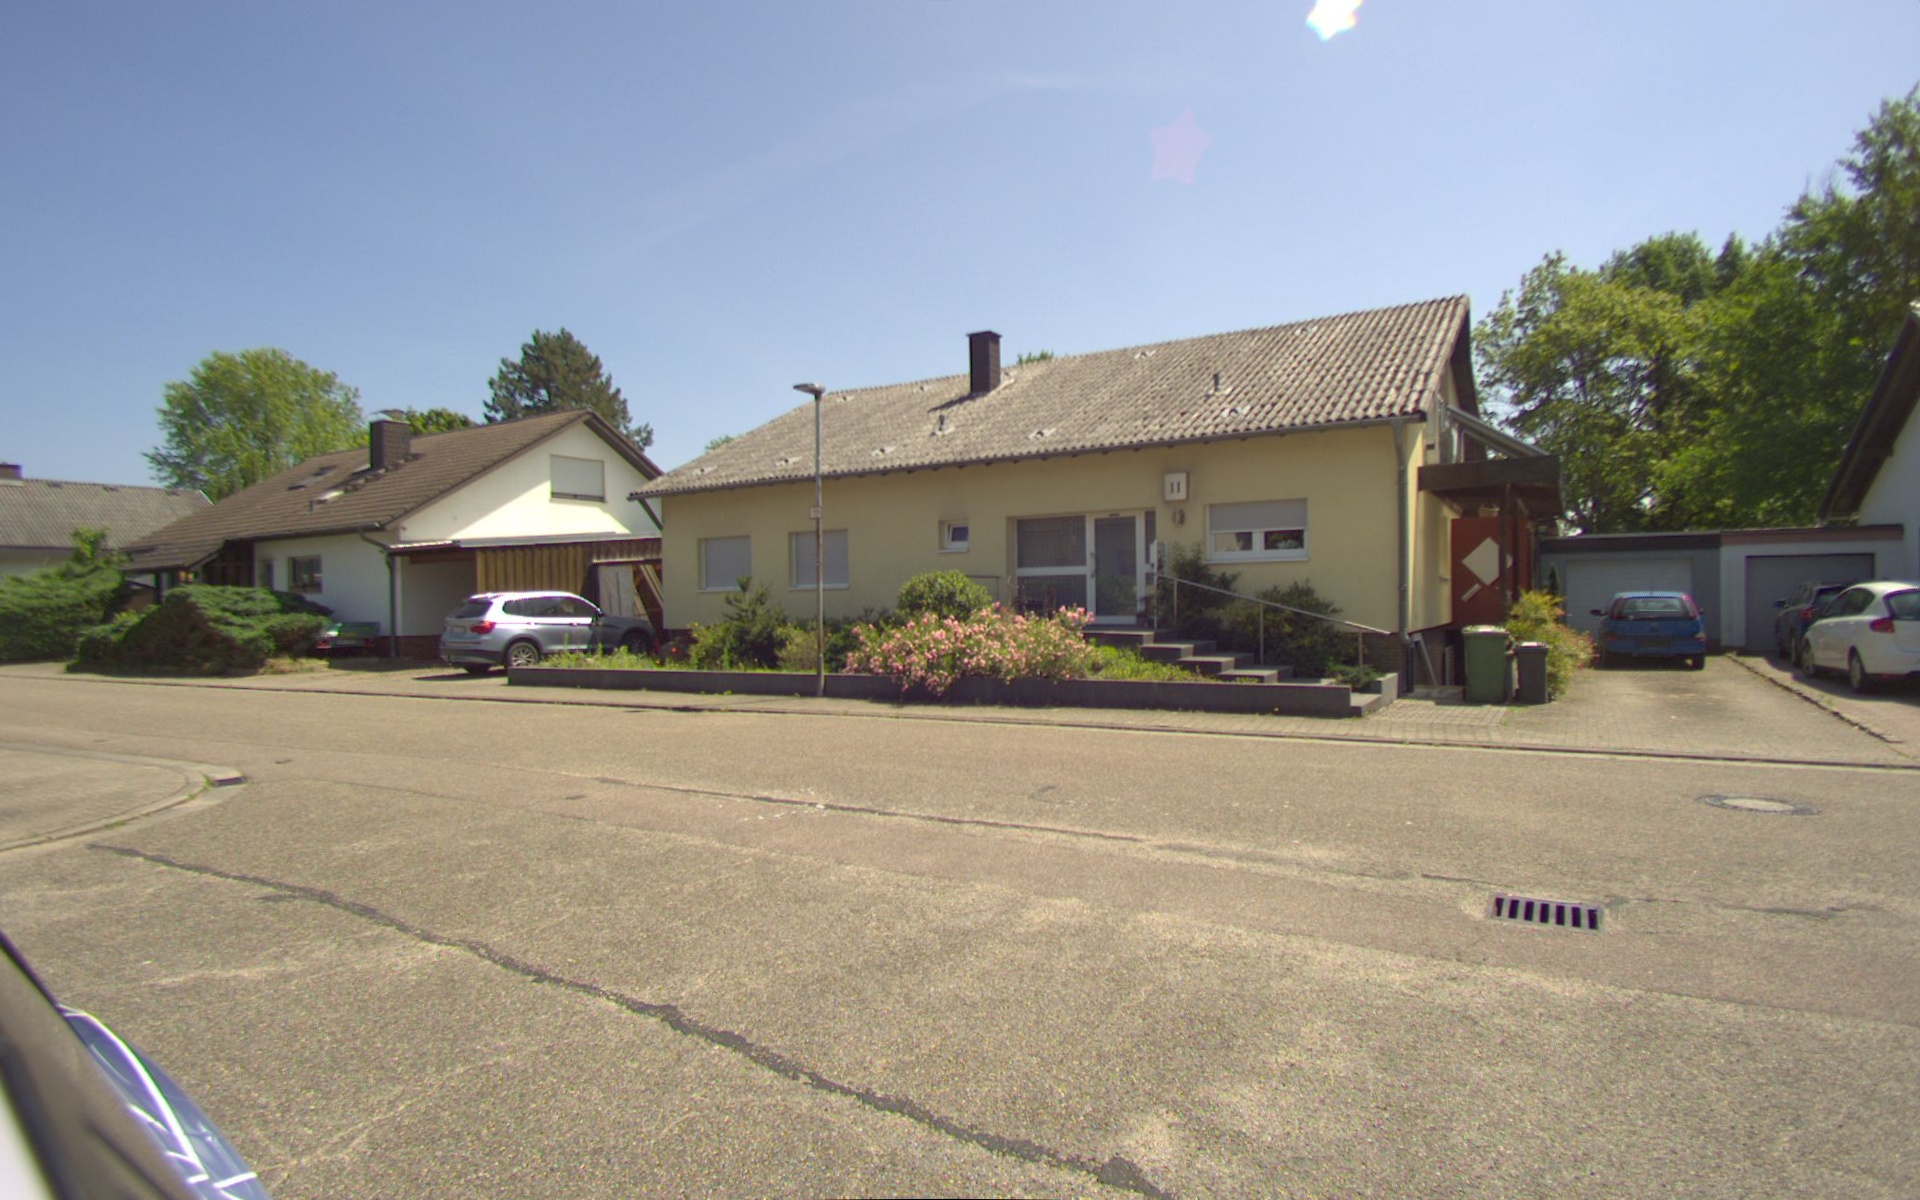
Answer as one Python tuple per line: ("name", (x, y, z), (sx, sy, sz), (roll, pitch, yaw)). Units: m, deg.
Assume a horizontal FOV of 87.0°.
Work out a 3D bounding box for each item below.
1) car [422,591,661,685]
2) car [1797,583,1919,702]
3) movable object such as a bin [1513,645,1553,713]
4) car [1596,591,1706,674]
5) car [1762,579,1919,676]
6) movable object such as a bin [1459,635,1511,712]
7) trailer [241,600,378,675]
("car", (-8.921, 0.732, 21.955), (1.705, 1.715, 4.589), (-1, 1, 34))
("car", (14.014, 0.546, 14.957), (1.744, 1.580, 3.962), (-1, 0, 28))
("movable object such as a bin", (7.913, 1.086, 13.978), (0.405, 0.898, 0.423), (-2, -1, 24))
("car", (13.705, 0.585, 20.224), (1.614, 1.466, 3.219), (-1, 1, 31))
("car", (16.509, 0.453, 18.888), (1.922, 1.620, 3.957), (-2, 0, 32))
("movable object such as a bin", (7.395, 1.024, 14.271), (0.589, 1.049, 0.488), (-2, -1, 24))
("trailer", (-16.010, 0.881, 24.869), (3.286, 1.685, 1.575), (0, 1, 32))
